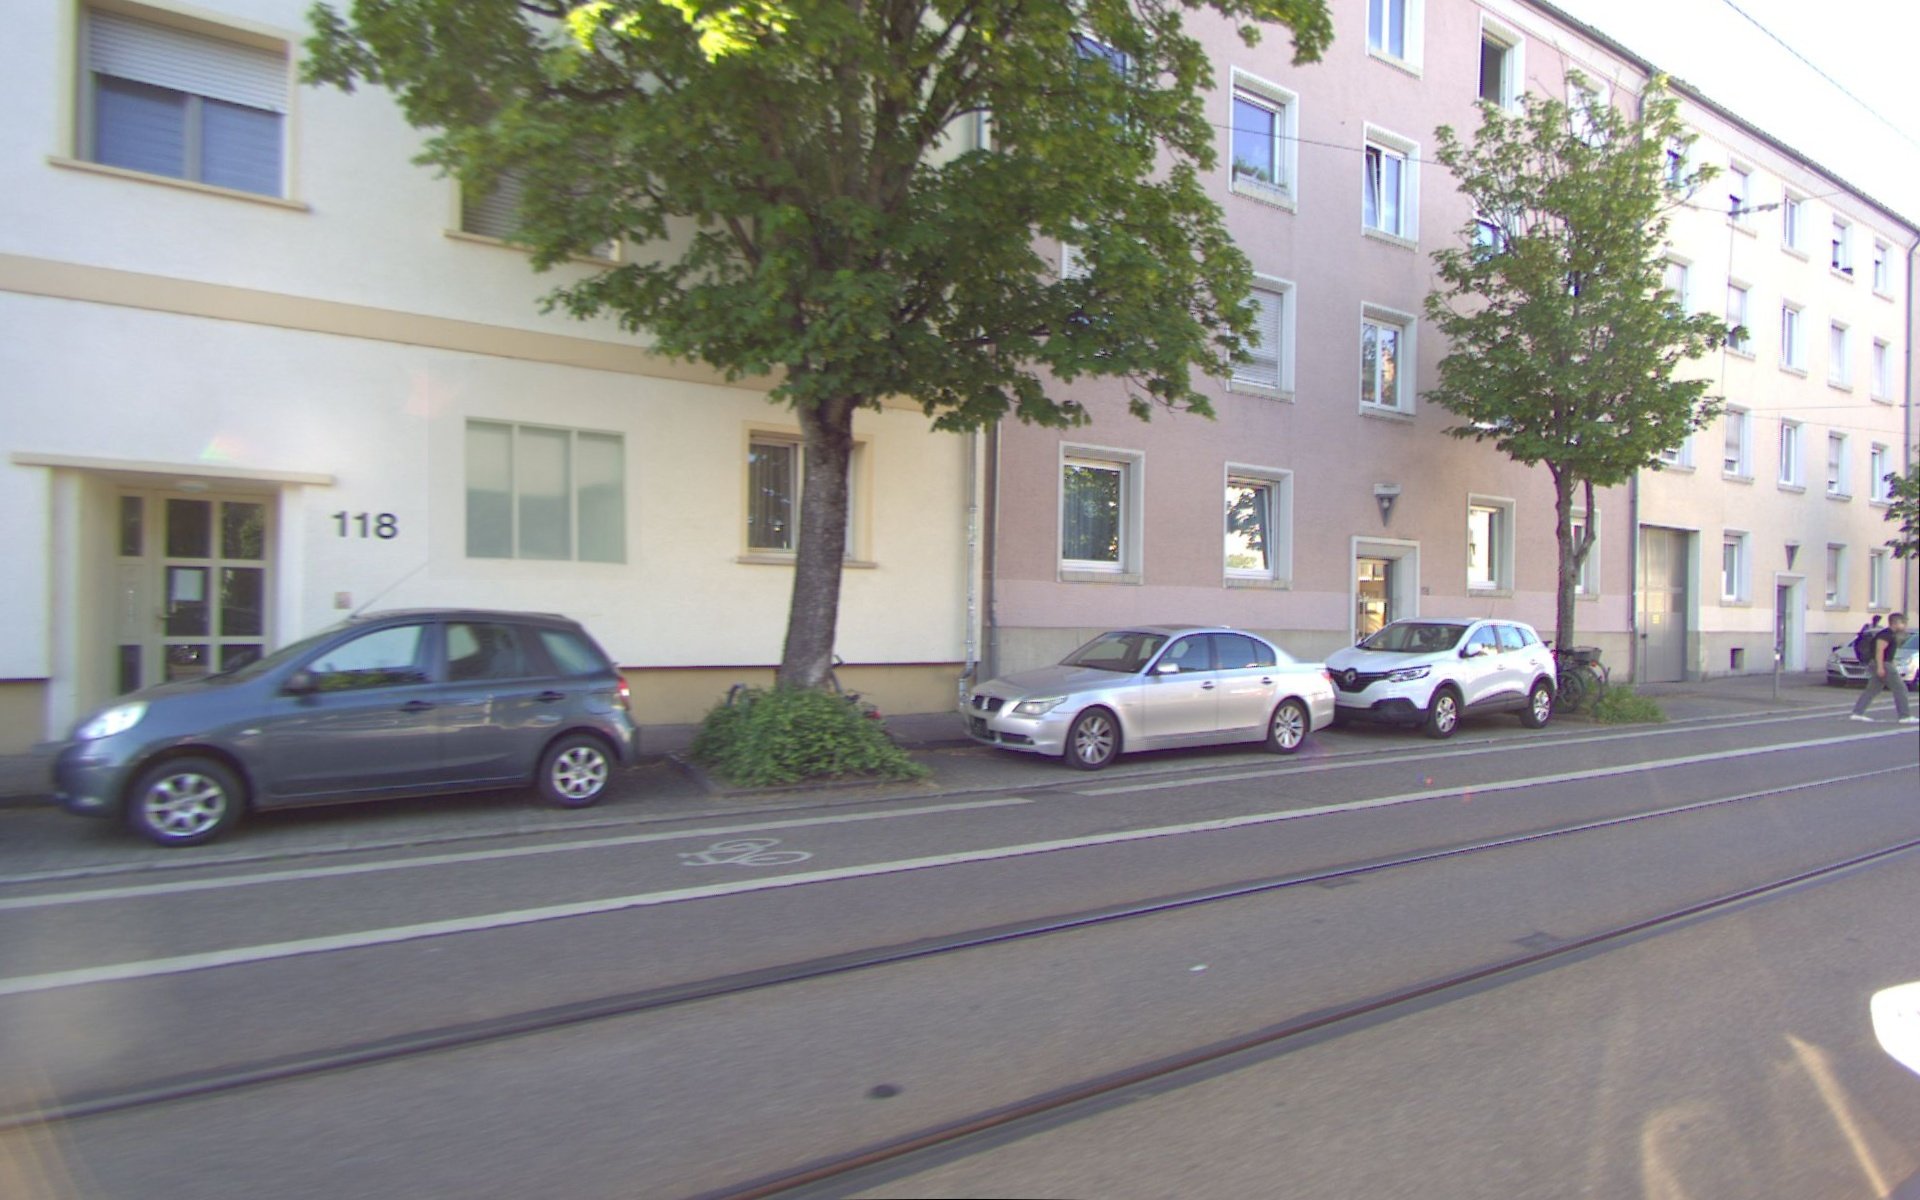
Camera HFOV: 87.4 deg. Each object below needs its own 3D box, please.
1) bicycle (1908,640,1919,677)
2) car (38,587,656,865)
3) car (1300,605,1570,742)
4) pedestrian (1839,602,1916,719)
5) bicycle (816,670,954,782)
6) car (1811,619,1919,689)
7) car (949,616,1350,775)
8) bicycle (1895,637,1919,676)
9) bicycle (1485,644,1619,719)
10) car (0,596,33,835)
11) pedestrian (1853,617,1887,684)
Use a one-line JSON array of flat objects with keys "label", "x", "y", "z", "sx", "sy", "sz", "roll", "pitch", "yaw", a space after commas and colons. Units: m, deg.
[{"label": "bicycle", "x": 27.138, "y": 1.639, "z": 27.498, "sx": 0.473, "sy": 1.015, "sz": 1.651, "roll": 1, "pitch": 1, "yaw": -41}, {"label": "car", "x": -4.427, "y": 0.772, "z": 7.701, "sx": 3.695, "sy": 1.635, "sz": 1.580, "roll": 1, "pitch": 1, "yaw": -36}, {"label": "car", "x": 6.956, "y": 0.968, "z": 14.553, "sx": 4.254, "sy": 1.690, "sz": 1.640, "roll": 1, "pitch": 1, "yaw": -36}, {"label": "pedestrian", "x": 14.641, "y": 0.940, "z": 16.058, "sx": 0.839, "sy": 1.800, "sz": 0.732, "roll": -1, "pitch": -1, "yaw": 39}, {"label": "bicycle", "x": -0.810, "y": 1.213, "z": 10.115, "sx": 0.472, "sy": 0.836, "sz": 2.116, "roll": 1, "pitch": 1, "yaw": -31}, {"label": "car", "x": 22.760, "y": 1.274, "z": 24.527, "sx": 4.143, "sy": 1.528, "sz": 1.799, "roll": 1, "pitch": 1, "yaw": -31}, {"label": "car", "x": 2.293, "y": 0.991, "z": 11.712, "sx": 4.605, "sy": 1.495, "sz": 1.680, "roll": 1, "pitch": 1, "yaw": -30}, {"label": "bicycle", "x": 26.208, "y": 1.549, "z": 26.885, "sx": 0.470, "sy": 1.015, "sz": 1.660, "roll": 1, "pitch": 1, "yaw": -27}, {"label": "bicycle", "x": 9.775, "y": 1.322, "z": 16.663, "sx": 0.471, "sy": 1.060, "sz": 1.916, "roll": 1, "pitch": 1, "yaw": -29}, {"label": "car", "x": -7.791, "y": 0.721, "z": 5.424, "sx": 3.818, "sy": 1.550, "sz": 1.775, "roll": 1, "pitch": 0, "yaw": -34}, {"label": "pedestrian", "x": 25.728, "y": 1.413, "z": 28.390, "sx": 0.536, "sy": 1.850, "sz": 0.533, "roll": 1, "pitch": 1, "yaw": -31}]
